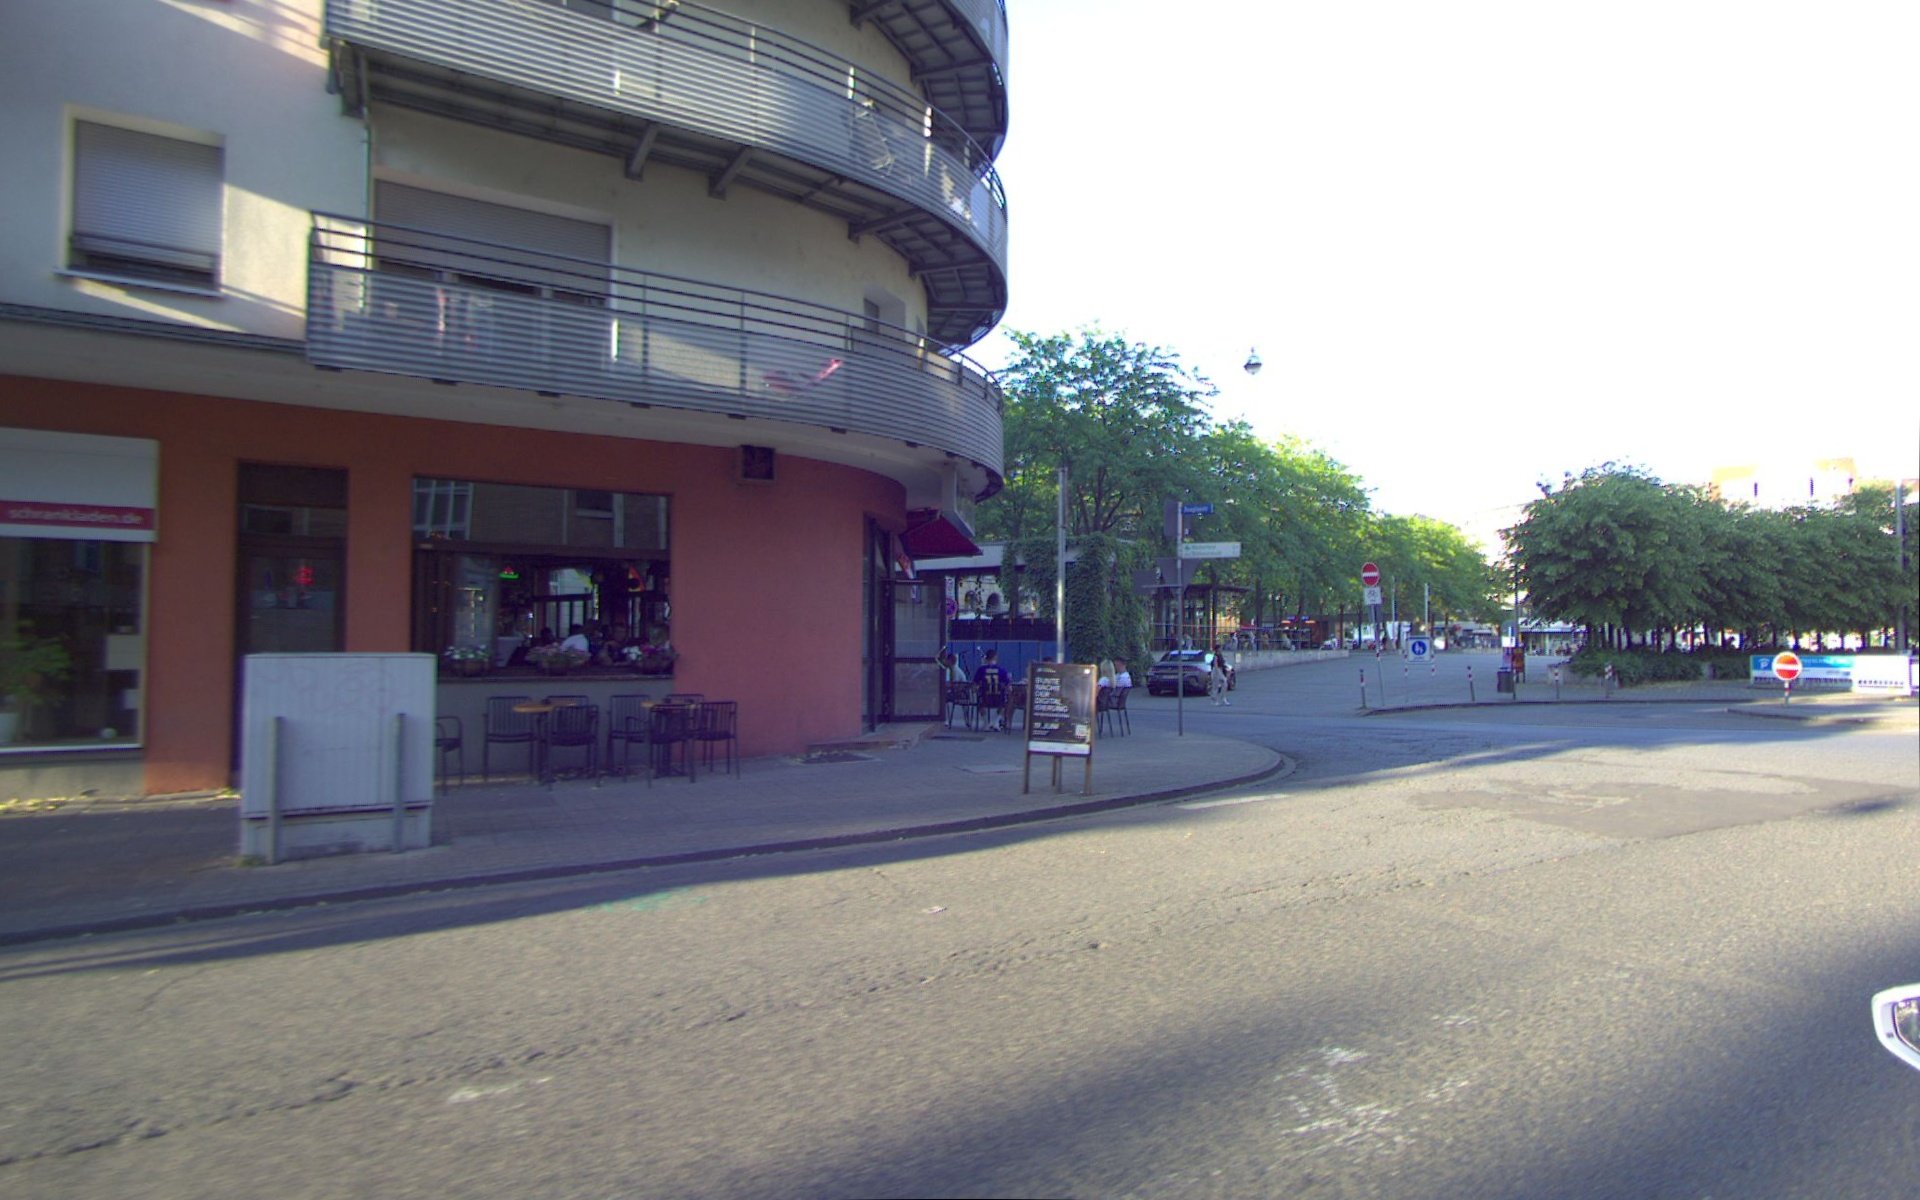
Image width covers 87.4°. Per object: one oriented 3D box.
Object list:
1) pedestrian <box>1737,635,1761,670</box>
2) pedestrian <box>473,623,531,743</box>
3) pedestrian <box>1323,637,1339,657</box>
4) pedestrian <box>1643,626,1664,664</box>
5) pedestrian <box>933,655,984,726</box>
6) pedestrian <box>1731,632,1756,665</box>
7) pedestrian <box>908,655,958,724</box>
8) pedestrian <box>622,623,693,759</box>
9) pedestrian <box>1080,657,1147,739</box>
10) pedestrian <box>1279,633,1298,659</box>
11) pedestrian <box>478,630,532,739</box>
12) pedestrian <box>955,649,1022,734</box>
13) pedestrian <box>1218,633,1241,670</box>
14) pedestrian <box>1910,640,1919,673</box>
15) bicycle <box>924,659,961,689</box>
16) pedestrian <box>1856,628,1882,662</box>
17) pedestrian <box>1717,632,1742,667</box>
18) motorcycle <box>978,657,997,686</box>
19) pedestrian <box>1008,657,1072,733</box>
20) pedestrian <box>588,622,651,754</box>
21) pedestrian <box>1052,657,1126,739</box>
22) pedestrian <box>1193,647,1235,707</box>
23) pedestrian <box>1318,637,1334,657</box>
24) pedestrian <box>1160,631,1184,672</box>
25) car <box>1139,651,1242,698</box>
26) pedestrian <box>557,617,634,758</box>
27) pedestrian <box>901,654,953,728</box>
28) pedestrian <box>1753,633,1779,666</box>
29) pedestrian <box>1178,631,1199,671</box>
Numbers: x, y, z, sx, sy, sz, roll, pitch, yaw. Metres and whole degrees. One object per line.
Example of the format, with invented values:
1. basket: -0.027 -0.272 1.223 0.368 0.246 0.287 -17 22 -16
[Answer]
1. pedestrian: 37.040 2.475 47.145 0.558 1.616 0.678 1 -1 -10
2. pedestrian: -6.085 1.096 13.339 0.591 1.538 0.669 3 -3 -29
3. pedestrian: 20.587 2.599 55.706 0.704 1.134 0.609 -1 -2 36
4. pedestrian: 30.221 1.962 43.777 0.693 1.616 0.673 -1 -1 43
5. pedestrian: -0.025 1.643 18.364 0.696 1.263 0.615 3 -4 -39
6. pedestrian: 39.054 2.412 50.060 0.558 1.616 0.791 1 -1 -10
7. pedestrian: -0.508 1.669 18.863 0.696 1.263 0.615 3 -4 -39
8. pedestrian: -3.717 1.106 12.339 0.693 1.615 0.594 3 -3 -28
9. pedestrian: 2.539 1.602 16.627 0.742 1.289 0.820 3 -4 -38
10. pedestrian: 16.561 2.313 50.629 0.778 1.296 0.652 -1 -4 36
11. pedestrian: -6.407 1.176 14.136 0.591 1.477 0.669 3 -3 -29
12. pedestrian: 0.475 1.509 16.691 0.821 1.365 0.741 3 -4 -36
13. pedestrian: 11.772 2.247 43.829 0.778 1.607 0.652 -1 -4 36
14. pedestrian: 47.743 2.789 49.771 0.665 1.616 0.678 1 -1 -10
15. bicycle: -0.599 2.555 34.986 0.501 0.935 1.802 -1 -1 27
16. pedestrian: 44.073 2.177 48.696 0.665 1.616 0.678 1 -1 -10
17. pedestrian: 36.773 2.355 47.986 0.558 1.616 0.791 1 -1 -10
18. motorcycle: 0.937 2.419 34.055 0.500 0.892 1.806 0 -1 7
19. pedestrian: 1.373 1.620 17.265 0.821 1.263 0.717 3 -4 -36
20. pedestrian: -4.326 1.106 12.746 0.591 1.615 0.669 3 -3 -29
21. pedestrian: 2.074 1.563 16.177 0.761 1.258 0.891 3 -4 -38
22. pedestrian: 6.867 2.070 27.150 0.886 1.587 0.765 -2 -2 36
23. pedestrian: 20.030 2.553 55.003 0.704 1.072 0.609 -1 -2 36
24. pedestrian: 8.304 2.017 39.363 0.679 1.607 0.767 -1 -4 37
25. car: 7.424 2.314 32.046 1.964 1.335 4.521 -2 -3 30
26. pedestrian: -4.349 1.035 11.988 0.741 1.615 0.594 3 -3 -28
27. pedestrian: -0.587 1.609 17.869 0.696 1.263 0.615 3 -4 -39
28. pedestrian: 39.389 2.423 49.090 0.558 1.616 0.791 1 -1 -10
29. pedestrian: 9.225 2.070 40.514 0.612 1.607 0.699 -1 -4 37
